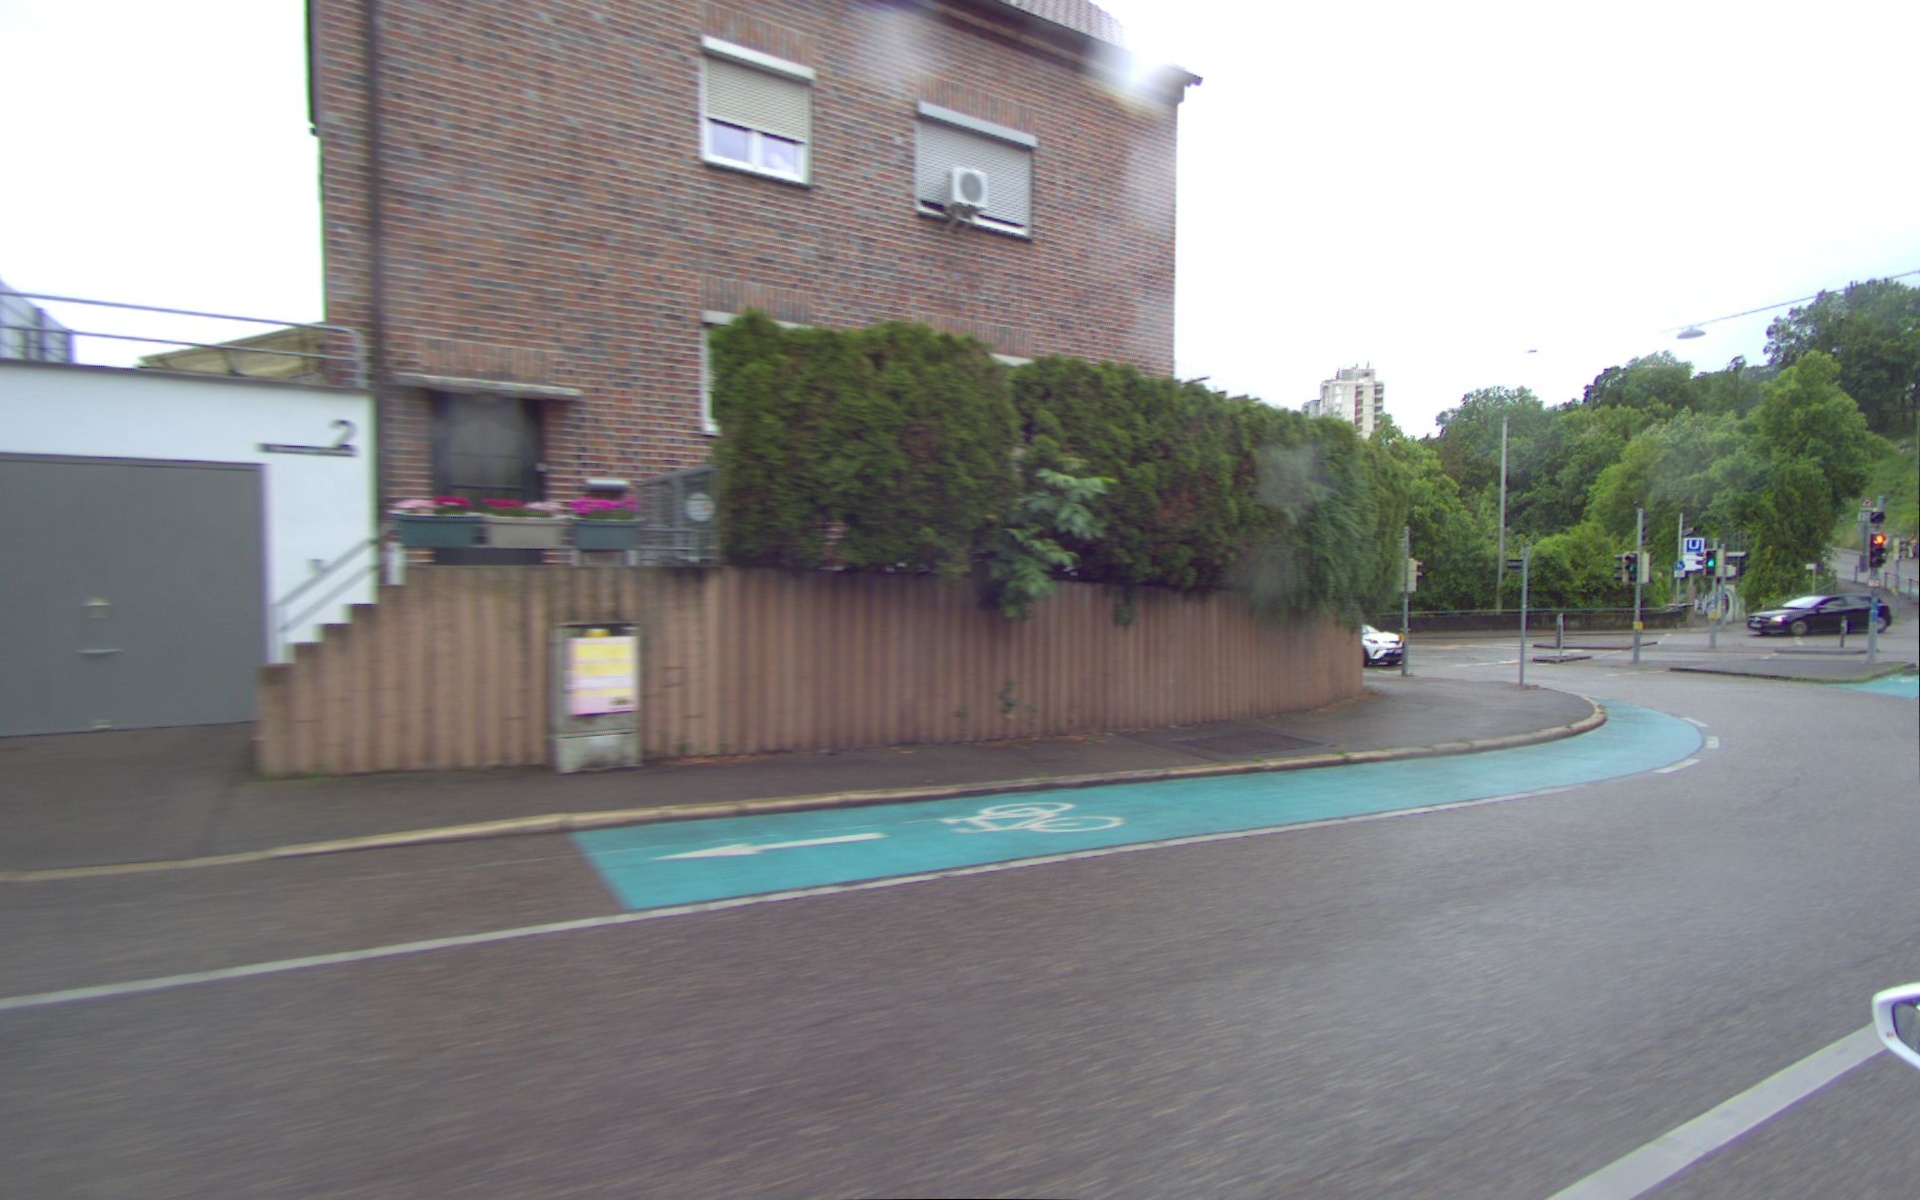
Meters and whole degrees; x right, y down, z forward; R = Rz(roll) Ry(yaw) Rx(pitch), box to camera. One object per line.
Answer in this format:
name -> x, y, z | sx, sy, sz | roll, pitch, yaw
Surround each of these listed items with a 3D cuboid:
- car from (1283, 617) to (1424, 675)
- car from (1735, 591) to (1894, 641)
car -> 13.172, 1.477, 33.884 | 1.974, 1.696, 4.136 | -3, 1, -26
car -> 30.507, 0.557, 35.976 | 3.919, 1.571, 1.747 | -3, 1, 12
